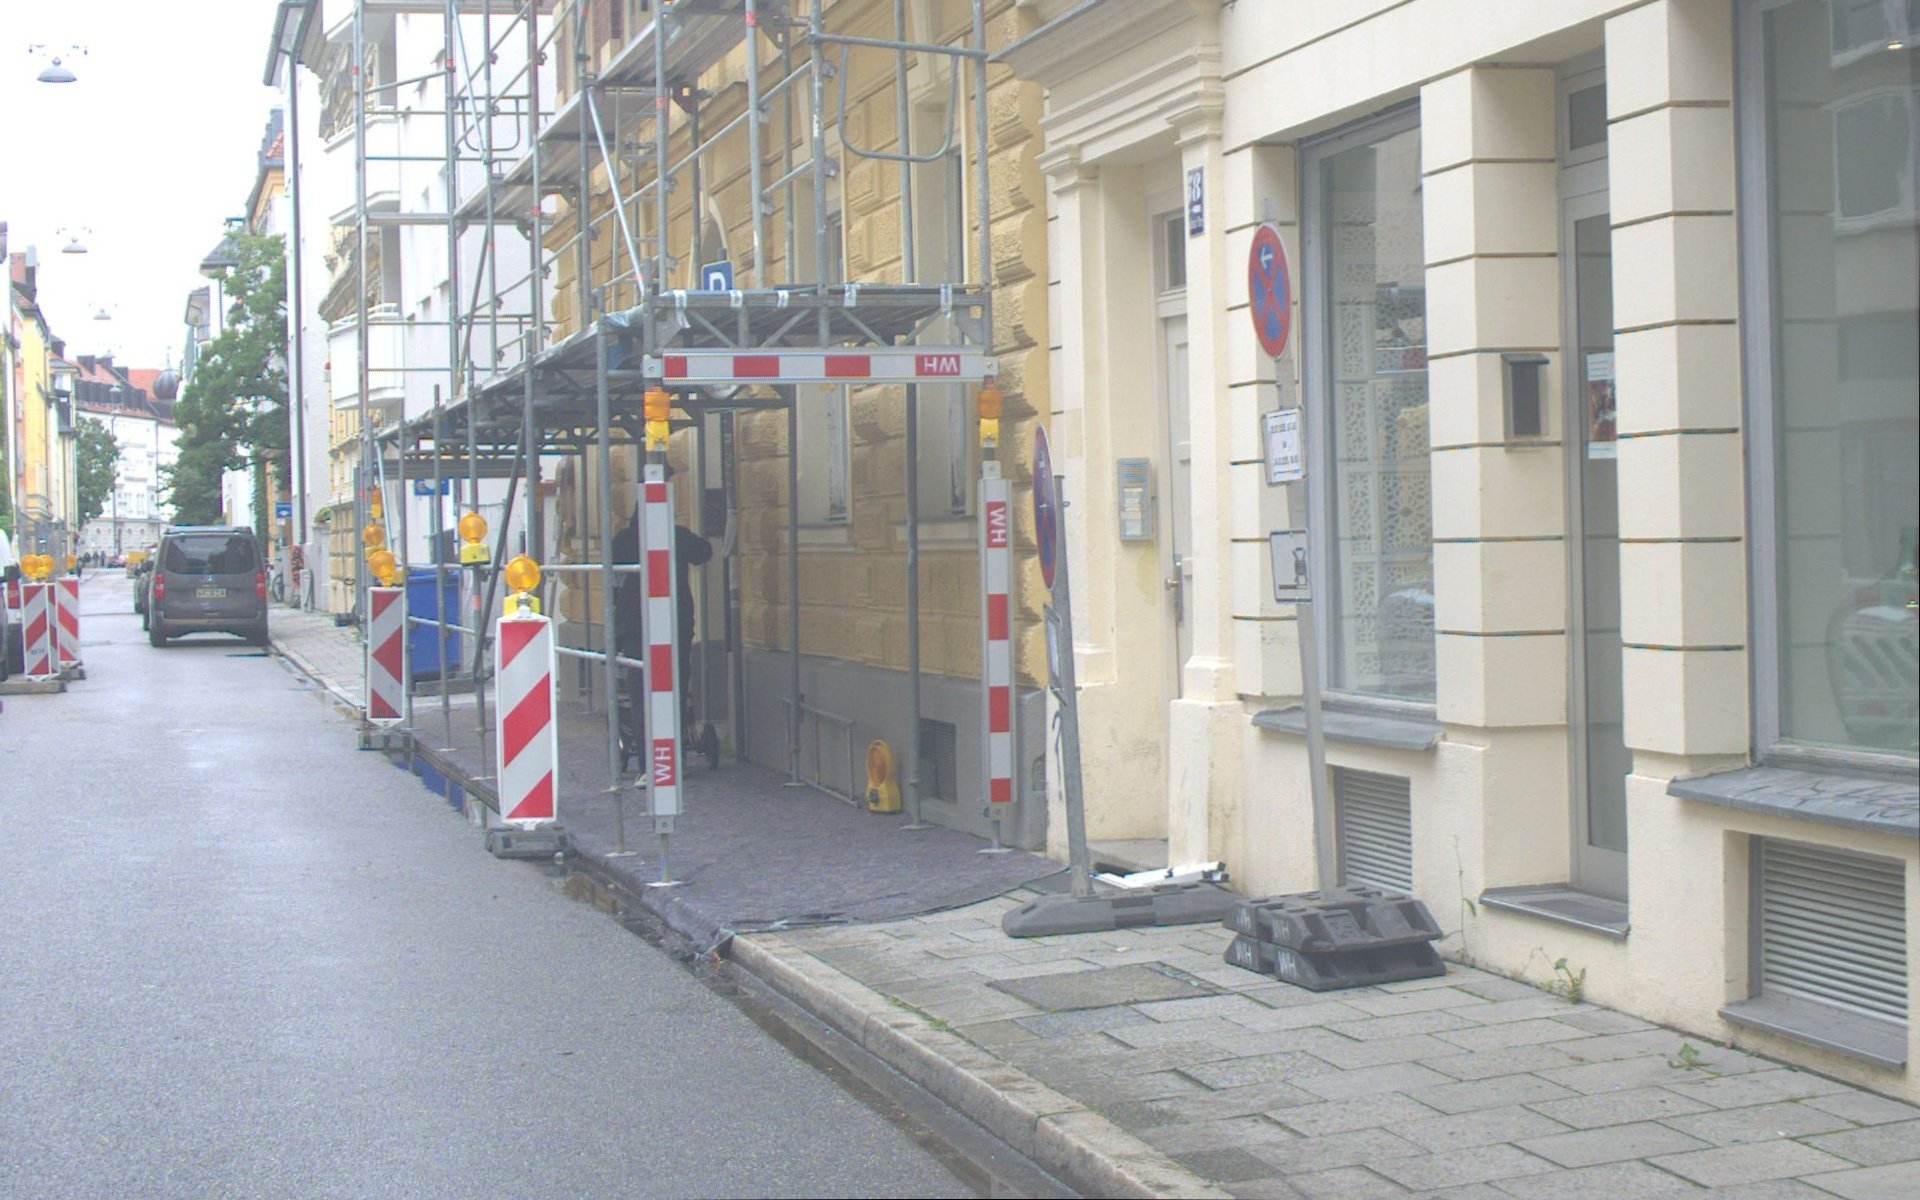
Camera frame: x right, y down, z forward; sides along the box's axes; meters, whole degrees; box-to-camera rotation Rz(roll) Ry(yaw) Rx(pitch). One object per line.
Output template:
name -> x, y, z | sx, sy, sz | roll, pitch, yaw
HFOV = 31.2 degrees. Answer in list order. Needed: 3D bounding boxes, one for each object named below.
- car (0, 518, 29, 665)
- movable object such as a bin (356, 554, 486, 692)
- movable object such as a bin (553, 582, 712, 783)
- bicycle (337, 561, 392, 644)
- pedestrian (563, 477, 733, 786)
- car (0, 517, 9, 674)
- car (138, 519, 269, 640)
car -> -13.714, -0.123, 46.659 | 1.904, 1.891, 5.090 | -1, 1, -17
movable object such as a bin -> -5.672, 0.228, 36.245 | 1.086, 1.341, 1.317 | -4, 2, -1
movable object such as a bin -> -2.025, 0.492, 21.183 | 0.729, 1.137, 0.988 | -6, 2, -14
bicycle -> -8.911, 0.024, 51.425 | 0.638, 1.149, 1.916 | -4, 2, -13
pedestrian -> -1.874, 0.175, 20.516 | 0.729, 1.746, 0.988 | -5, 2, -14
car -> -12.308, -0.024, 40.736 | 1.727, 1.891, 5.510 | -3, 1, -14
car -> -12.658, -0.367, 57.369 | 1.993, 1.925, 4.661 | 0, 1, -14
